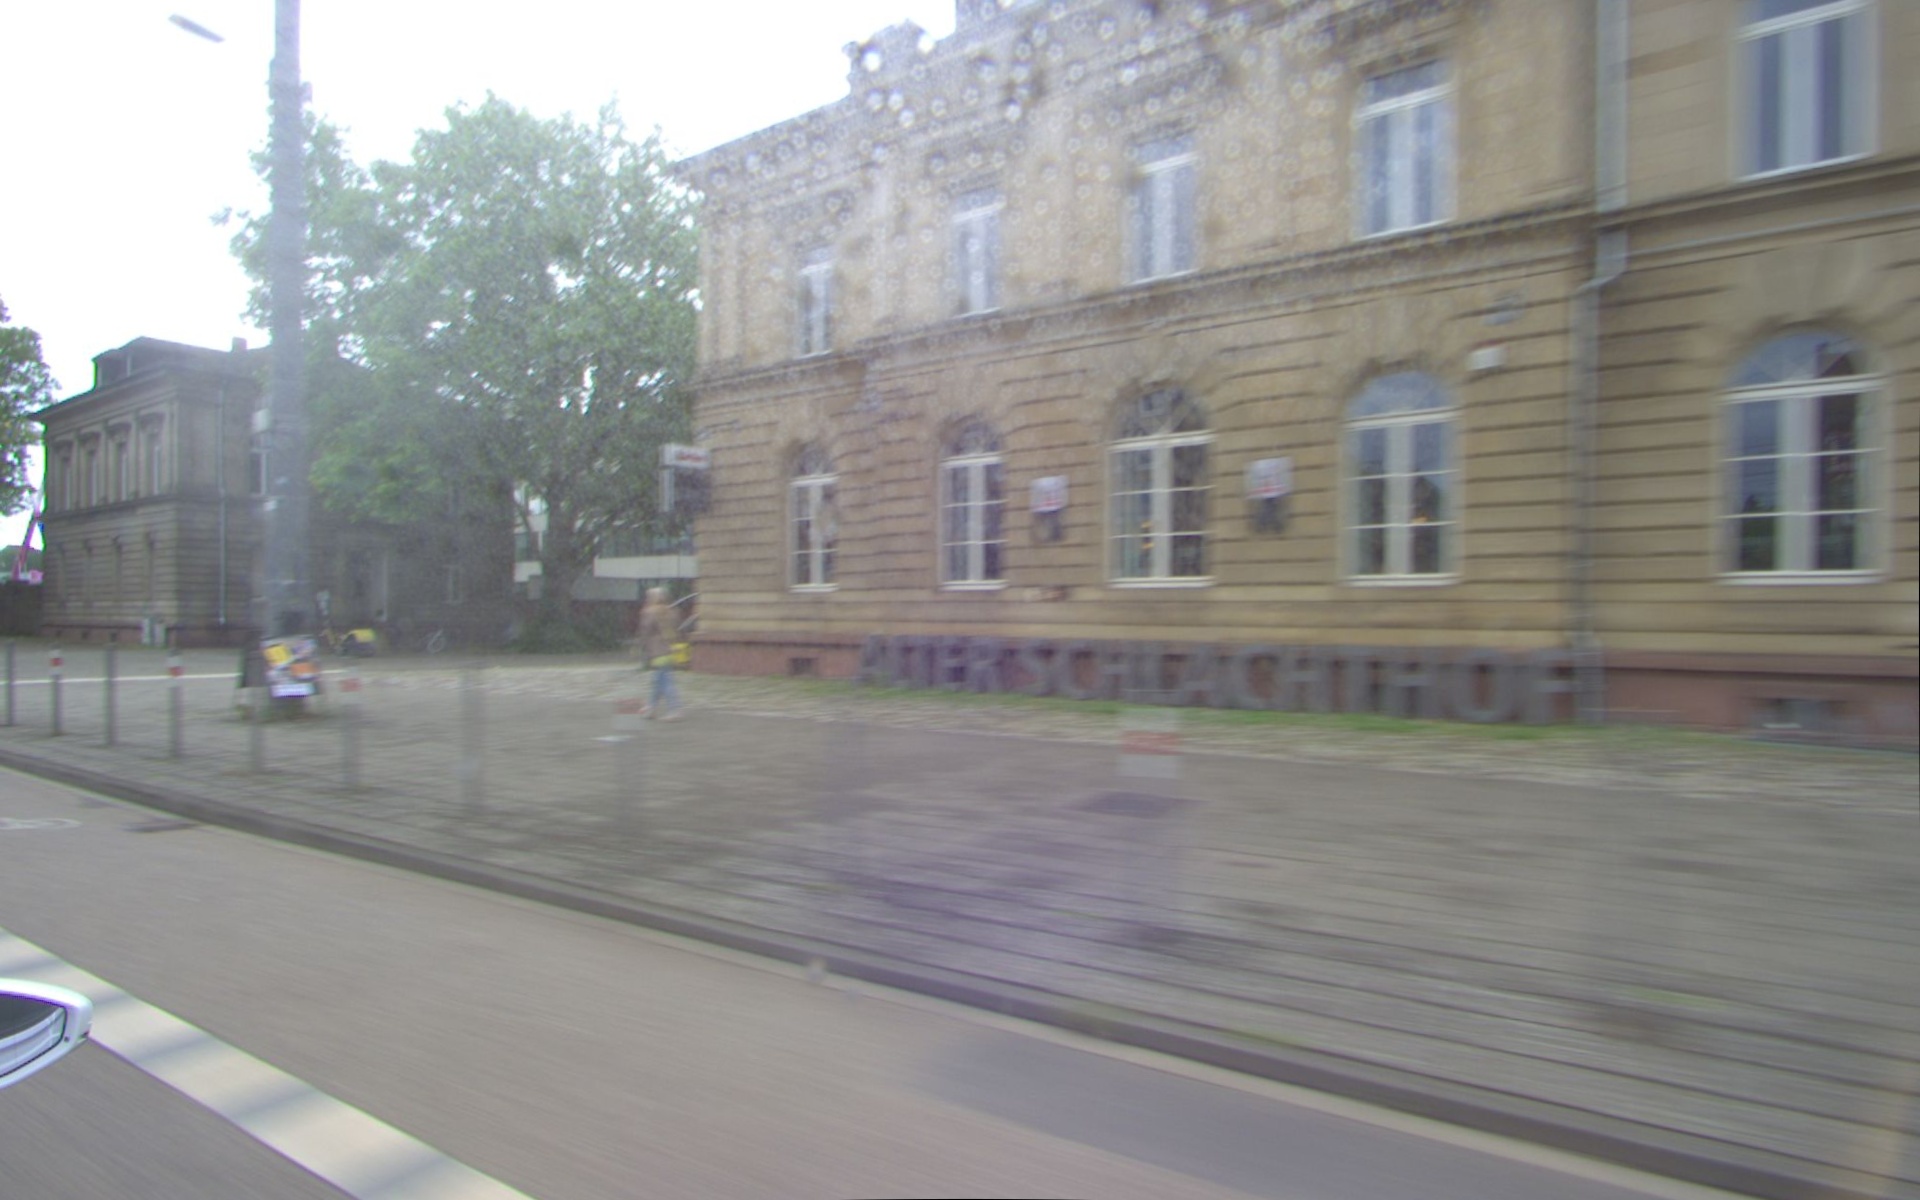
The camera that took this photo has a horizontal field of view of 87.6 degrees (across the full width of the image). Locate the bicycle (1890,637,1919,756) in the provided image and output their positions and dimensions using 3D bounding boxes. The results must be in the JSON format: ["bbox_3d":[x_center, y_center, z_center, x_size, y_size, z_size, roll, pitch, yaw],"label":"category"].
[{"bbox_3d":[9.134,0.931,8.848,0.537,1.093,1.854,0,2,16],"label":"bicycle"}]

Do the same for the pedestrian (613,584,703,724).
[{"bbox_3d":[-3.874,0.672,12.823,0.989,1.700,0.714,-1,0,44],"label":"pedestrian"}]

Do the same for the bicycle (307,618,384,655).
[{"bbox_3d":[-21.425,1.235,34.874,3.357,1.082,0.898,3,1,33],"label":"bicycle"}]

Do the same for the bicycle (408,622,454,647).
[{"bbox_3d":[-19.625,1.268,37.133,2.052,0.883,0.608,0,0,33],"label":"bicycle"}]
